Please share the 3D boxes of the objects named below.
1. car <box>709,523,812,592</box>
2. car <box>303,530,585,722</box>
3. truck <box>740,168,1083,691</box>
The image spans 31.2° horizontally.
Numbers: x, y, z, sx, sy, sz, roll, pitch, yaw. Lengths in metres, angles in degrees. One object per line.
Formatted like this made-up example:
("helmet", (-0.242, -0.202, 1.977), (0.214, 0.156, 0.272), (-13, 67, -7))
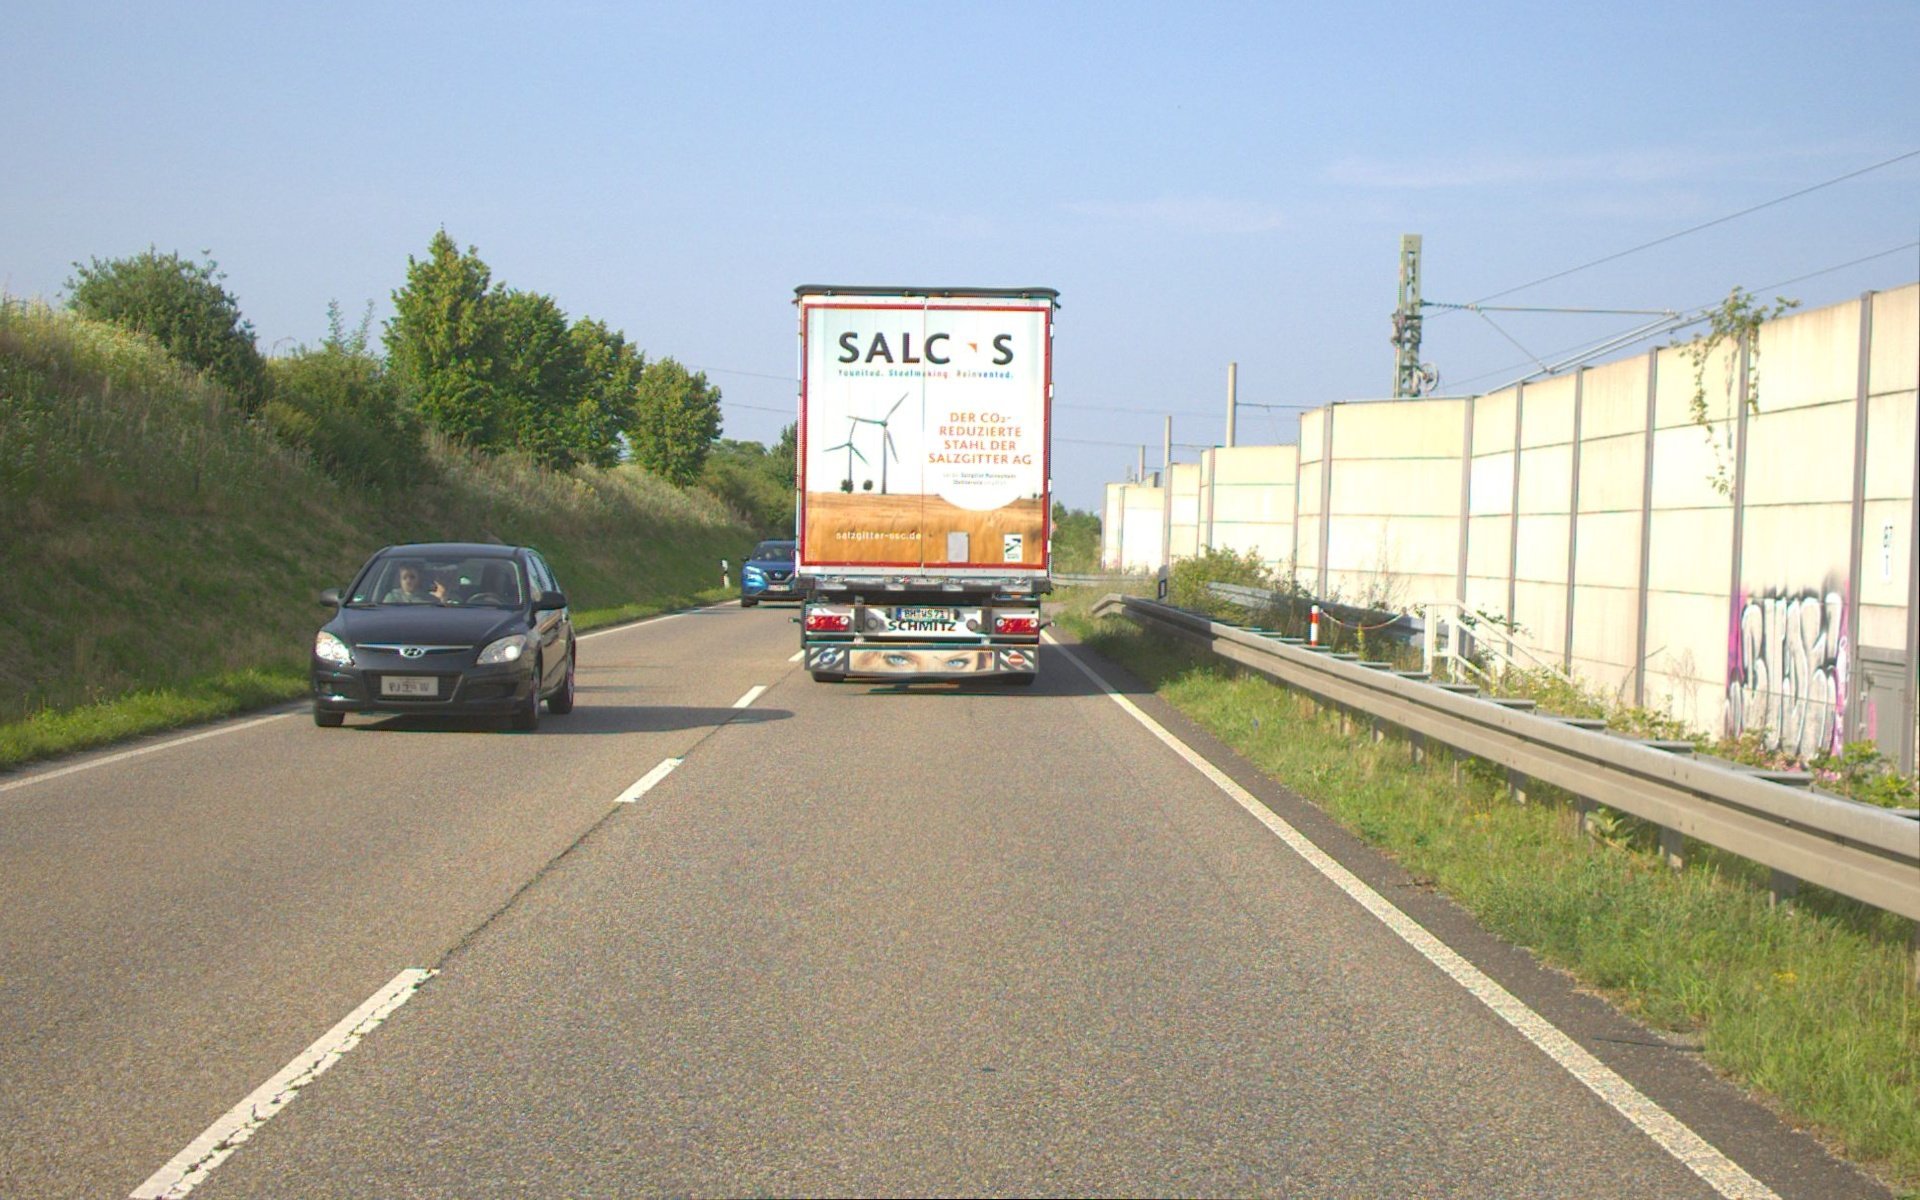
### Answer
("car", (-4.674, -1.032, 81.213), (2.141, 1.568, 5.340), (0, 1, 0))
("car", (-4.163, 0.159, 28.284), (1.716, 1.448, 4.019), (1, 1, 0))
("truck", (-0.500, -1.790, 39.791), (3.290, 5.072, 12.038), (1, 1, 0))
